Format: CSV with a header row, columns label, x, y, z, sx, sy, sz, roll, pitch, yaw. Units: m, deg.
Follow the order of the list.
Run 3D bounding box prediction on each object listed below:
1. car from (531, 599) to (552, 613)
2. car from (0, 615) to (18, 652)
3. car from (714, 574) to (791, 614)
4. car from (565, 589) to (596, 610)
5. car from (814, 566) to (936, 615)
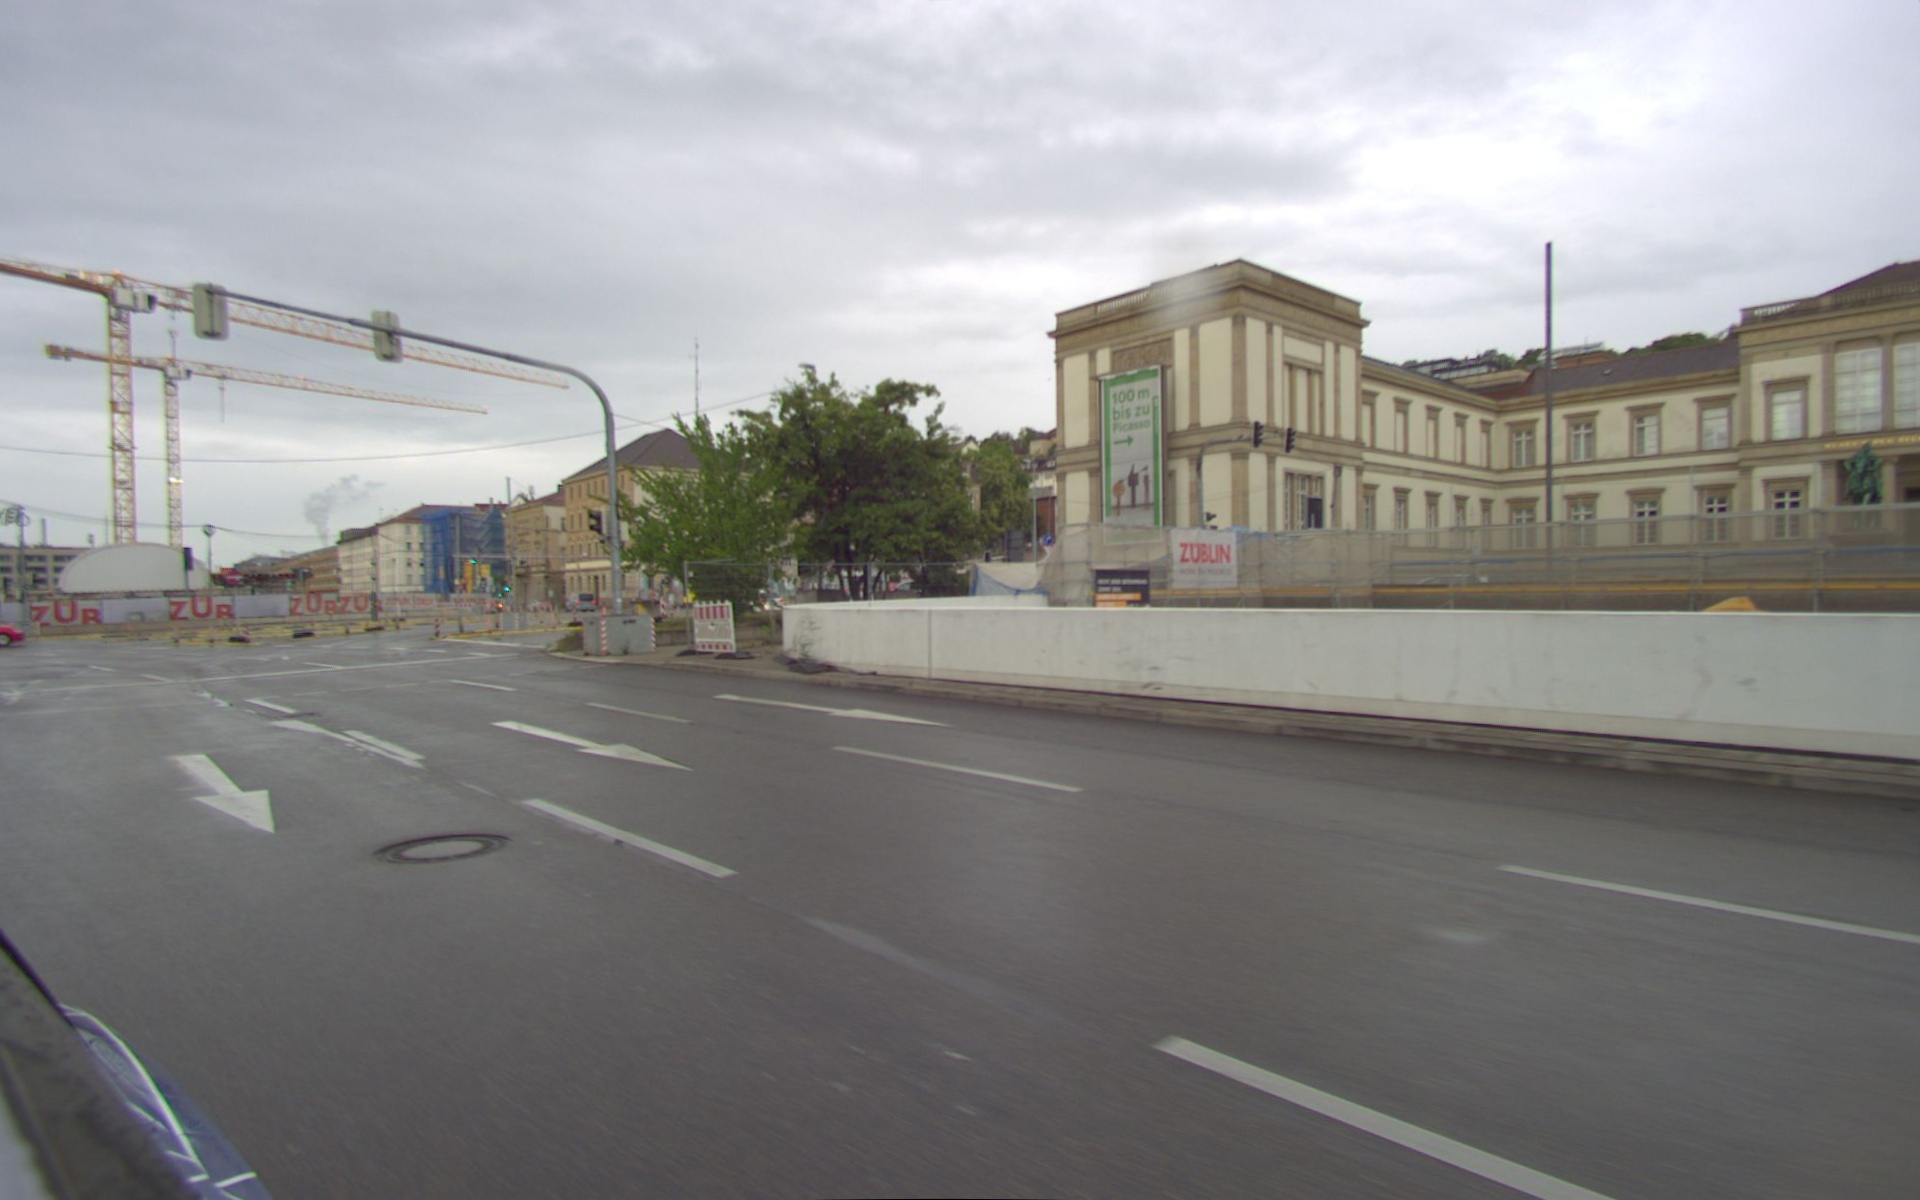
label,x,y,z,sx,sy,sz,roll,pitch,yaw
car,-49.335,0.683,119.253,1.557,1.357,3.818,-3,4,-32
car,-43.041,1.569,43.230,1.691,1.563,3.945,-1,3,42
car,-11.604,-0.361,56.467,1.971,2.028,4.646,-4,4,-44
car,-37.216,-0.073,99.244,1.966,1.852,4.698,-3,2,-31
car,-4.162,-0.463,49.228,5.667,2.189,2.345,0,3,34
